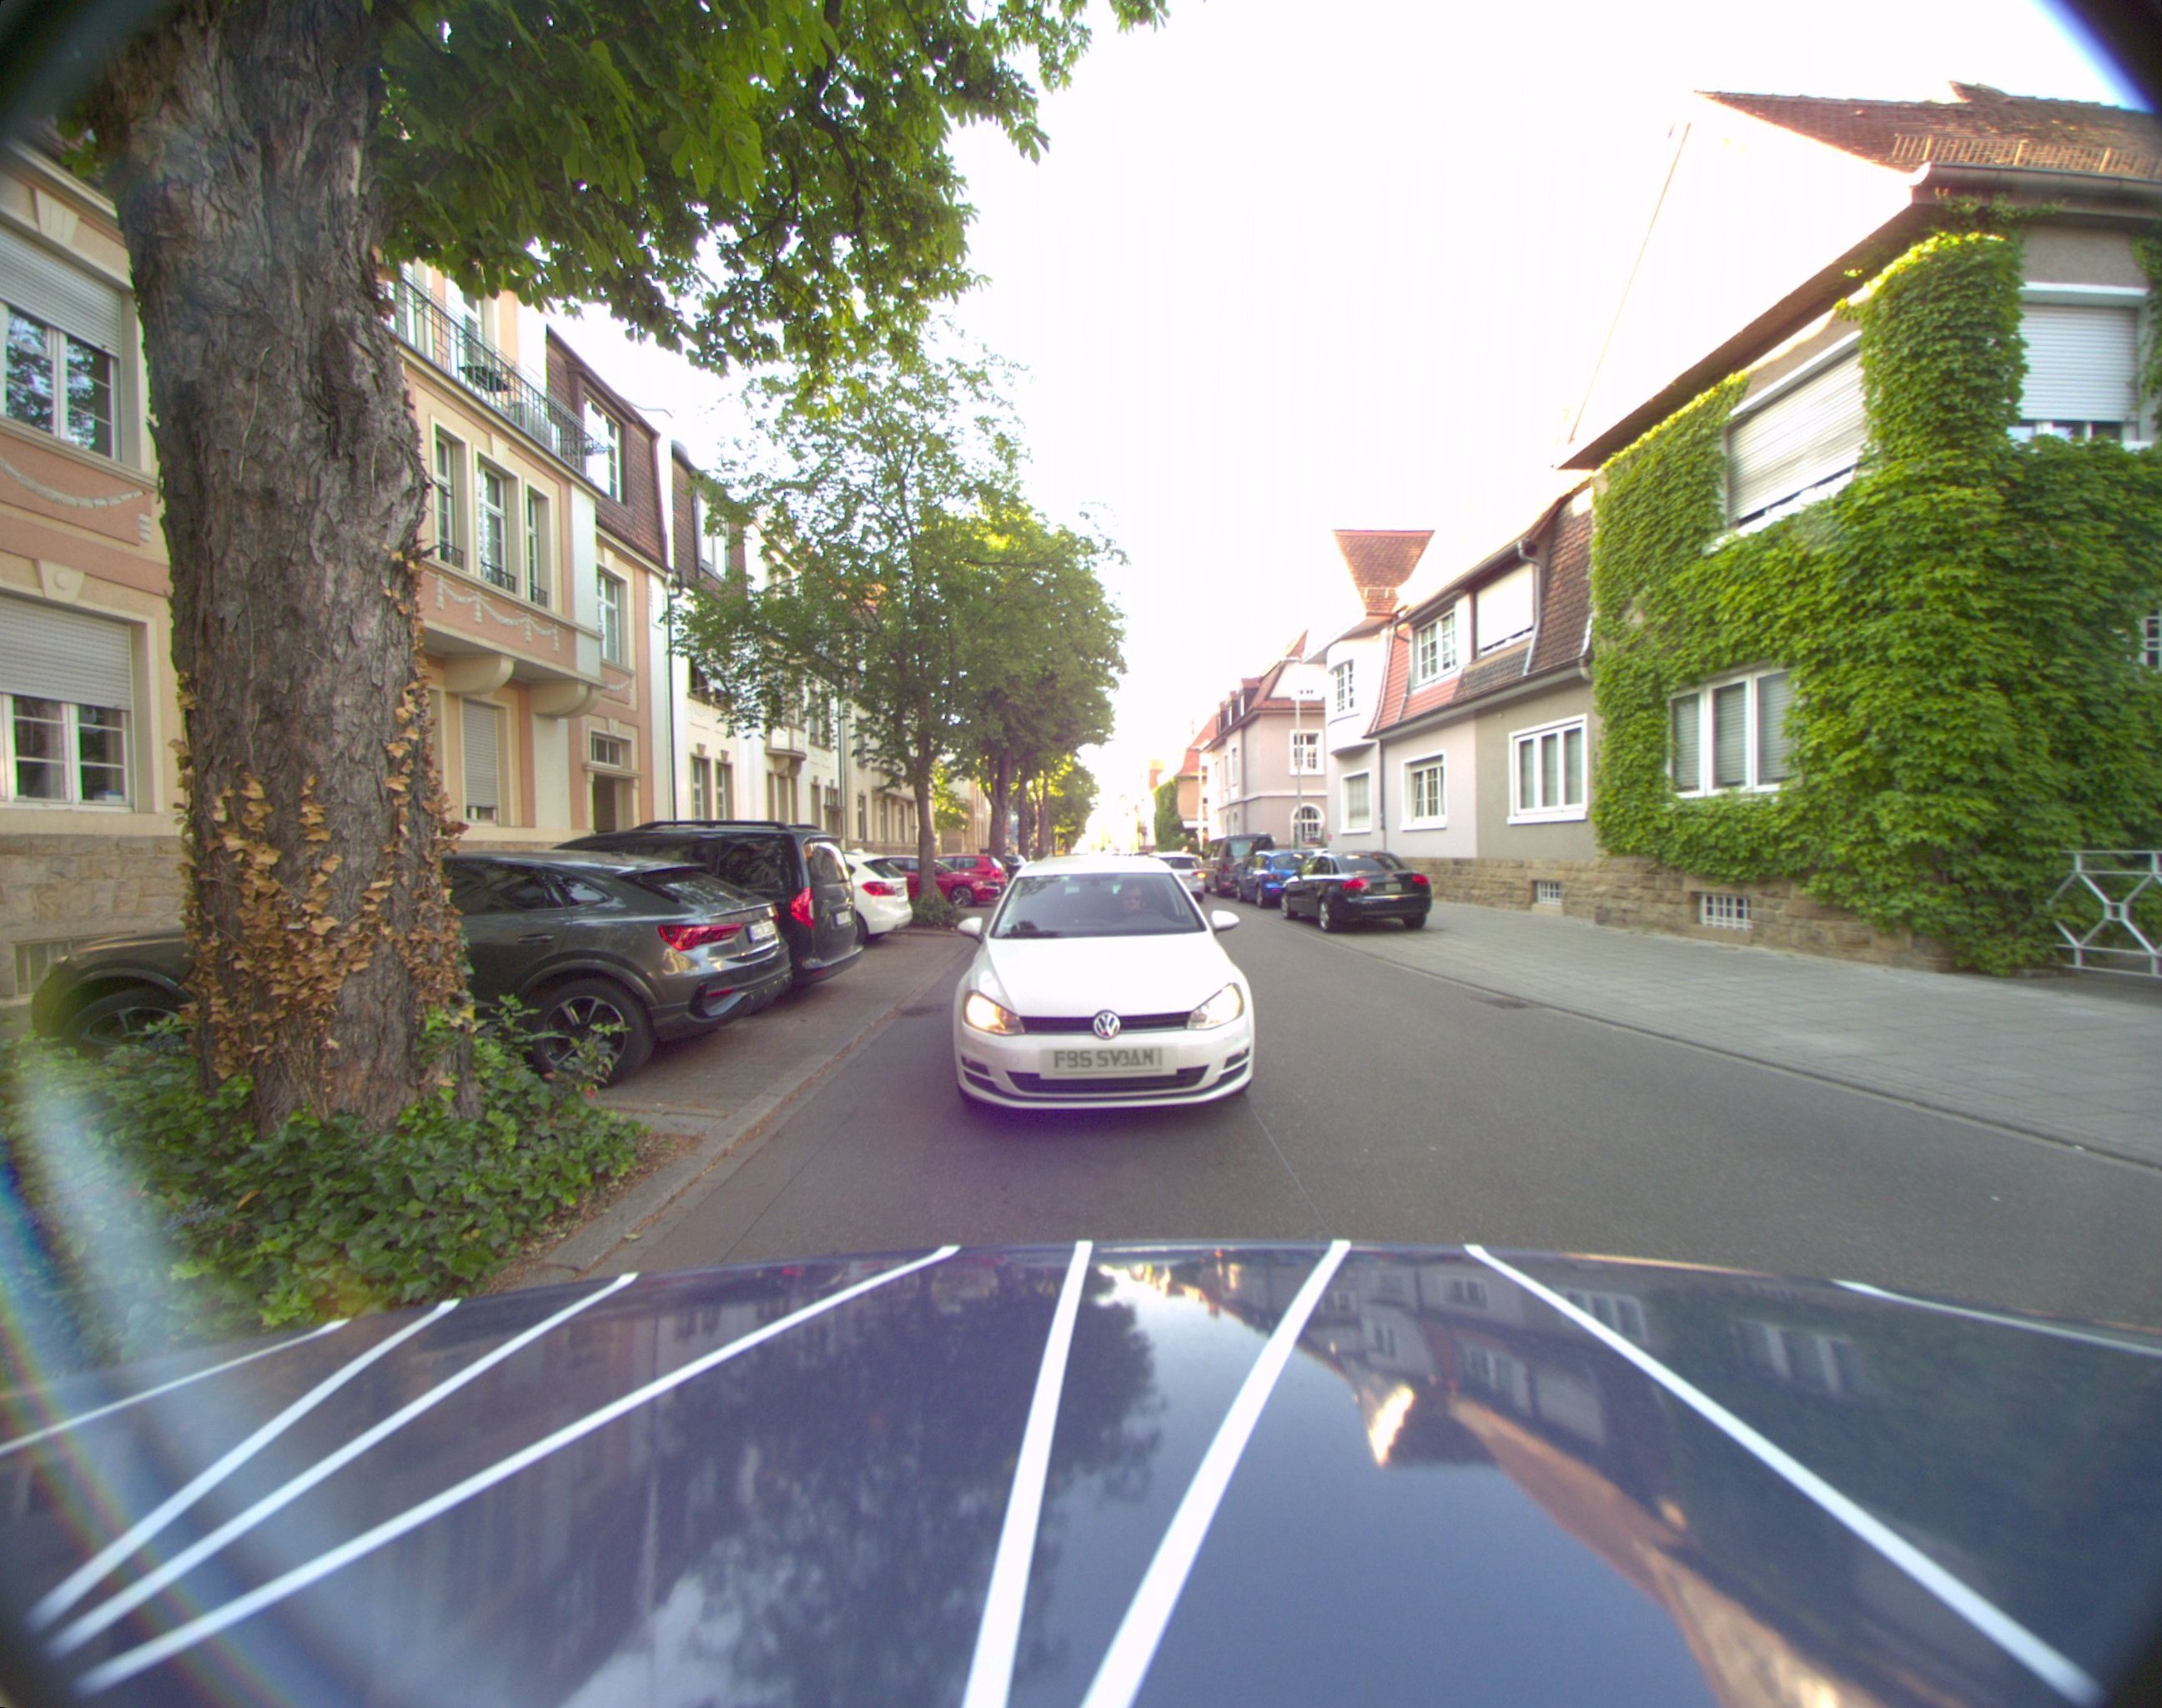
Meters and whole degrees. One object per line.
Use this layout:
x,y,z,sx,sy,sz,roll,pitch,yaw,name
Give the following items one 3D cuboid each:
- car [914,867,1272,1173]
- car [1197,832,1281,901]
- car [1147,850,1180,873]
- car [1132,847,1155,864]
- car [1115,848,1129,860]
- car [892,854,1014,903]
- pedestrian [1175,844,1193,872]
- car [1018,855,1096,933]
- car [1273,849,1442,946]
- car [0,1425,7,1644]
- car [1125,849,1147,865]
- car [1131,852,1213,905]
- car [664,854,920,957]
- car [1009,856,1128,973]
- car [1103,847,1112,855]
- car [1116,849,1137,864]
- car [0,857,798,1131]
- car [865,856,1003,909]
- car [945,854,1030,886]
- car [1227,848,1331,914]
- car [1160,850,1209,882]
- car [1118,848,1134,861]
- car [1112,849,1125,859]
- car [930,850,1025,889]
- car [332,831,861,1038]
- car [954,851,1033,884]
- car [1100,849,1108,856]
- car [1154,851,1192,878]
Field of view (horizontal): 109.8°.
0.027,0.889,5.940,1.799,1.420,4.023,-2,0,-1,car
5.137,0.341,25.263,1.719,1.961,4.310,-4,1,0,car
5.439,0.466,50.595,1.719,1.363,3.945,-3,0,0,car
5.544,0.122,68.250,1.643,1.461,3.945,-3,0,0,car
5.457,-0.045,102.064,1.643,1.461,3.689,-3,0,0,car
-4.048,0.765,24.338,3.622,1.456,1.537,1,1,0,car
7.476,0.258,55.109,1.188,2.002,0.931,1,1,4,pedestrian
-0.462,0.810,17.201,1.560,1.546,3.738,1,0,1,car
5.027,0.698,14.426,1.751,1.421,4.023,-4,1,1,car
-4.668,0.788,0.514,4.835,1.814,1.880,1,1,-4,car
5.409,0.290,75.326,1.643,1.461,3.688,-3,0,-4,car
2.703,0.695,23.581,1.786,1.453,4.298,1,0,-3,car
-4.582,0.803,12.434,3.623,1.541,1.537,1,1,-4,car
-0.140,0.838,12.361,1.600,1.546,4.000,1,0,1,car
5.226,-0.534,149.240,1.643,1.461,3.689,-3,0,0,car
4.800,0.249,80.848,1.643,1.461,3.688,-3,0,-4,car
-4.394,0.852,5.411,4.173,1.583,1.594,1,1,-4,car
-4.152,0.787,21.782,3.622,1.395,1.537,1,1,0,car
-4.145,0.723,34.136,3.622,1.395,1.537,0,1,0,car
5.181,0.633,20.394,1.611,1.455,4.023,-4,1,0,car
4.974,0.556,37.100,1.719,1.363,4.334,-3,0,0,car
5.401,0.052,91.220,1.643,1.461,3.689,-3,0,-1,car
5.700,-0.034,115.869,1.643,1.461,3.689,-3,0,0,car
-4.177,0.626,30.942,3.622,1.555,1.537,0,1,0,car
-4.506,0.711,7.589,4.173,1.816,1.594,1,1,-4,car
-4.205,0.642,36.874,3.622,1.555,1.537,0,1,0,car
5.143,-0.445,173.339,1.643,1.461,3.689,-3,0,0,car
5.074,0.544,42.460,1.541,1.363,3.945,-3,0,0,car
